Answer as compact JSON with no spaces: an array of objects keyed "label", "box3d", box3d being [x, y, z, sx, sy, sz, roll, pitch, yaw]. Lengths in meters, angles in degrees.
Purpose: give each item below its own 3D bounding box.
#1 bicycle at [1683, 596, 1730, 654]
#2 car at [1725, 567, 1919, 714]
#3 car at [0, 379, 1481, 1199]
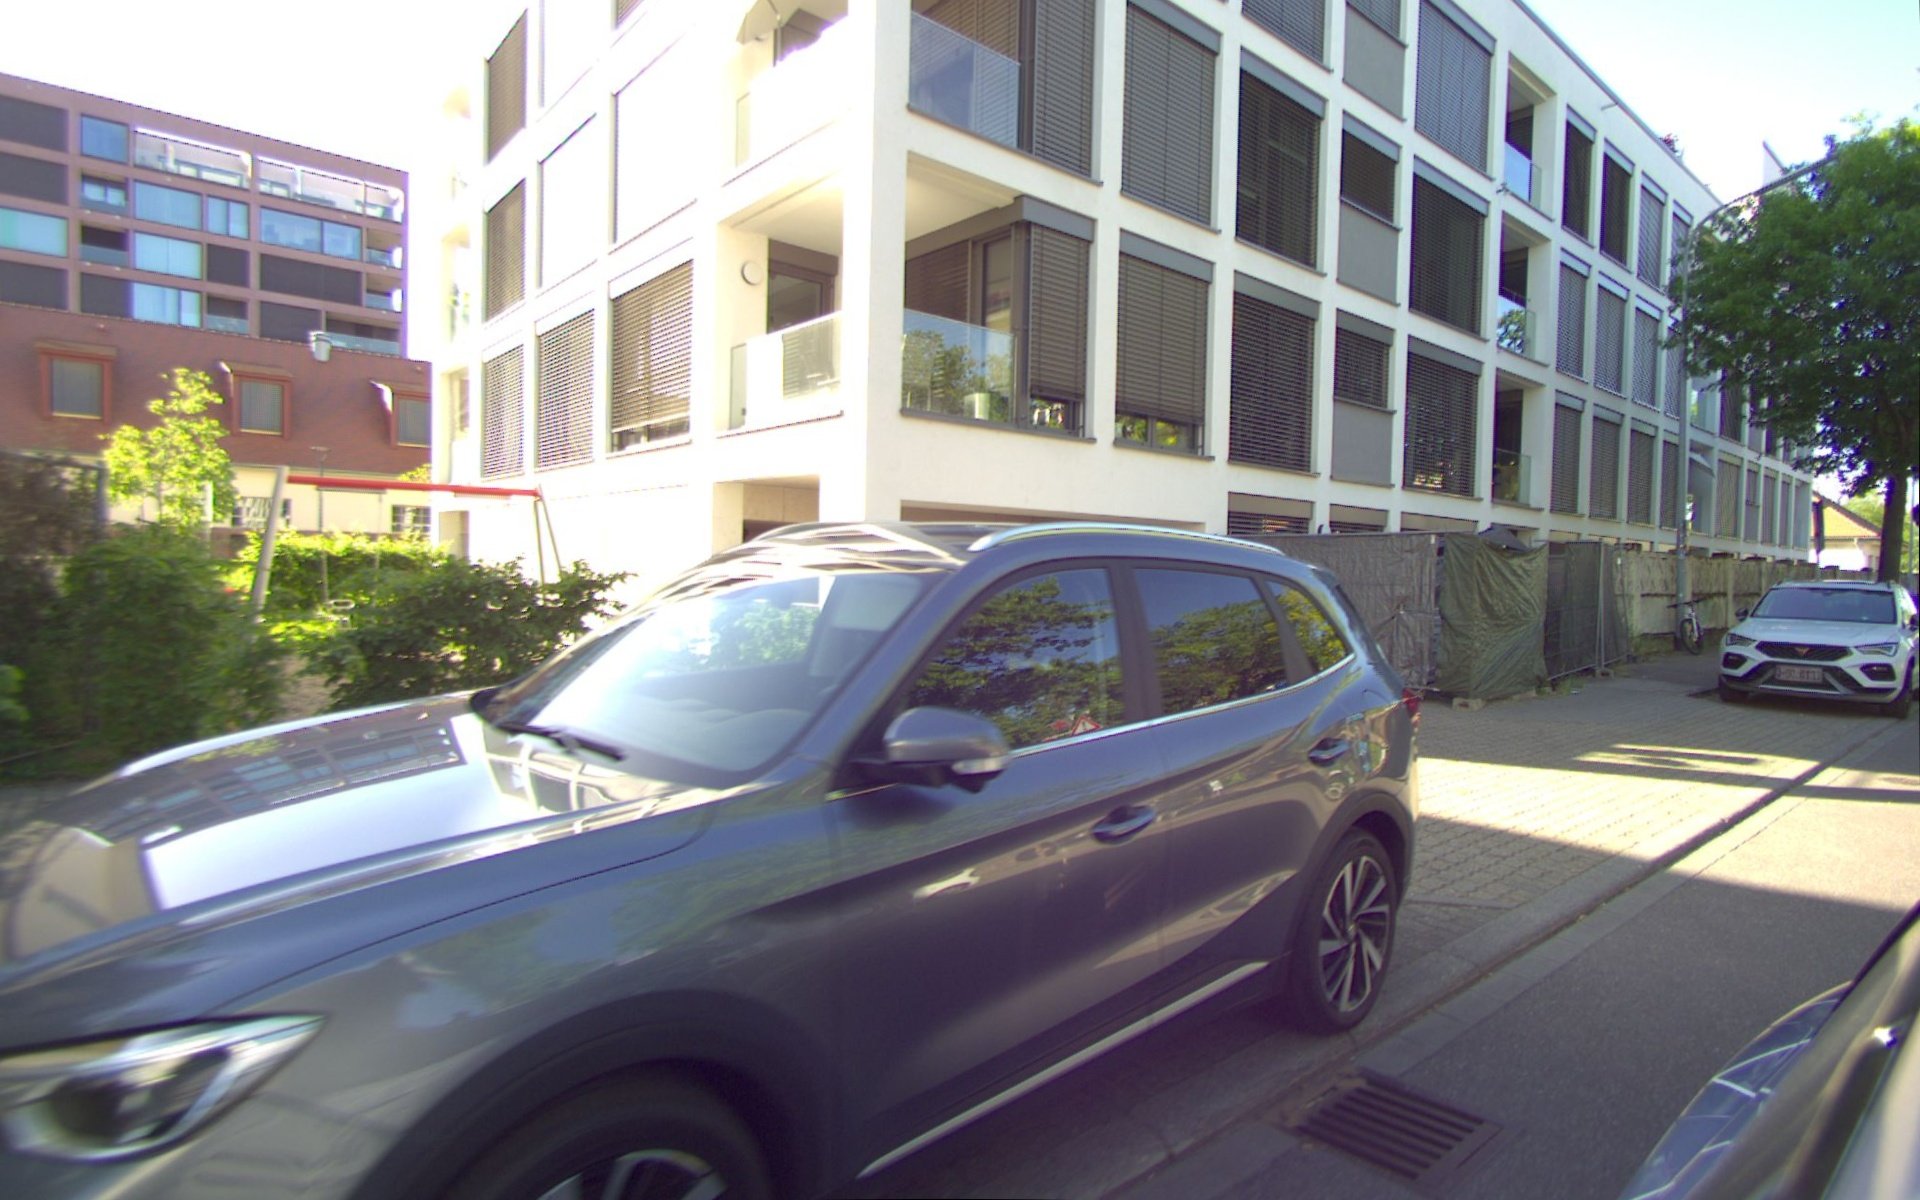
[{"label":"bicycle","box3d":[14.424,0.460,19.549,1.799,1.054,0.337,0,1,-41]},{"label":"car","box3d":[11.591,0.426,13.242,4.056,1.636,1.795,0,1,-42]},{"label":"car","box3d":[-0.214,0.557,2.963,4.229,1.658,1.715,0,2,-43]}]
